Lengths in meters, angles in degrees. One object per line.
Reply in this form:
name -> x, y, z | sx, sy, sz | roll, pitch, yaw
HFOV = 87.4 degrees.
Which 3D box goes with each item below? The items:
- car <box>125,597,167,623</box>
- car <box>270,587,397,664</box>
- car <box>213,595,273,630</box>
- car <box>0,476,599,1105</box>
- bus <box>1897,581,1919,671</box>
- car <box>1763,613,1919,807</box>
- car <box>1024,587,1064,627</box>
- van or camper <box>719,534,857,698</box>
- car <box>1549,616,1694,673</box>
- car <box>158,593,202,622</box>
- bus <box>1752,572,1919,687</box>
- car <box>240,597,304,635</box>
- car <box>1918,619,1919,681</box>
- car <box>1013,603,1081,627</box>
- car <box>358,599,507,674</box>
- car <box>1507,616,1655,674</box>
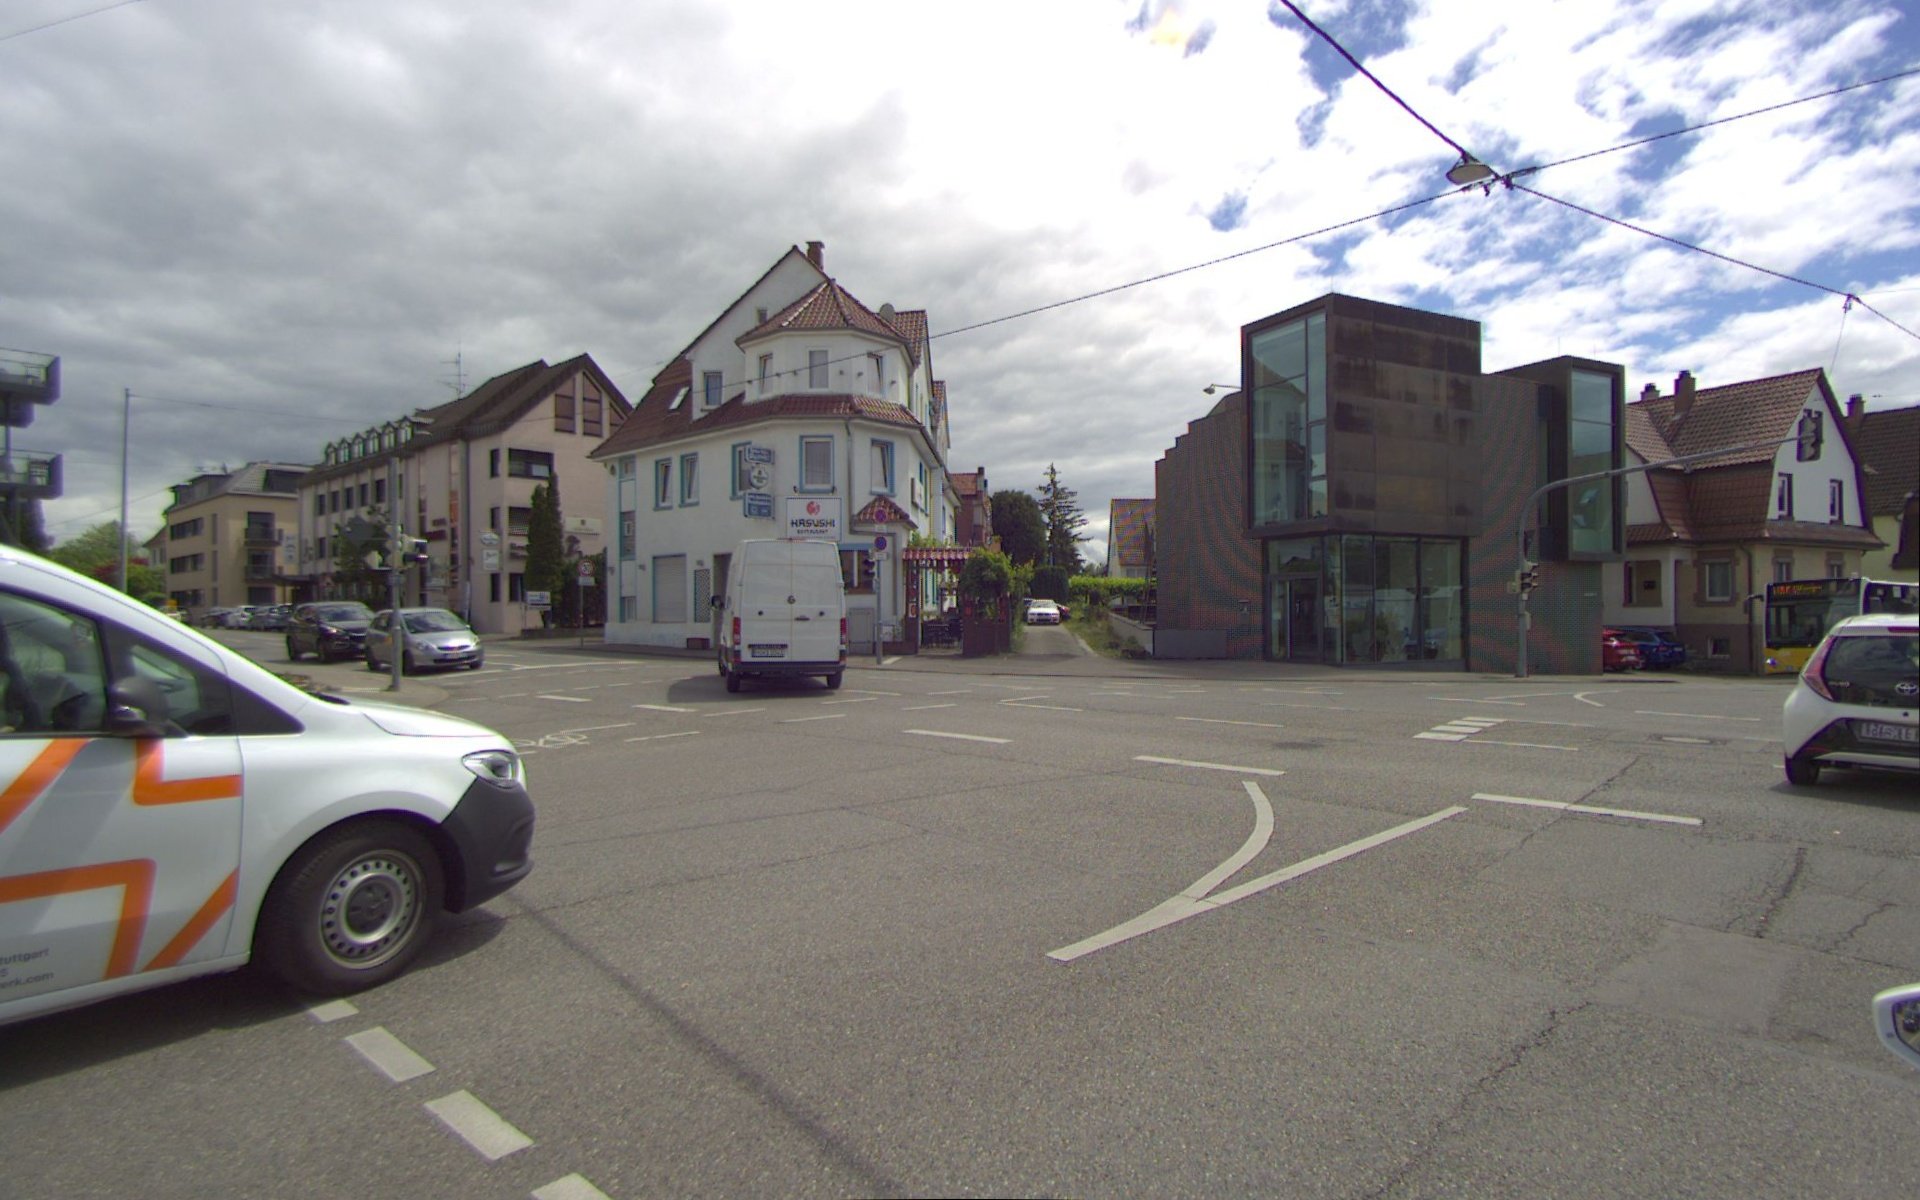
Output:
car -> -63.977, 0.771, 78.919 | 3.943, 2.040, 1.989 | 0, 0, 43
car -> -17.948, 0.684, 28.726 | 3.940, 2.040, 1.990 | 0, 0, 40
car -> -43.394, 0.710, 60.763 | 3.938, 2.040, 1.991 | 0, 0, 39
car -> -3.648, 0.551, 3.282 | 1.793, 1.836, 4.402 | 0, -1, 37
bus -> 36.150, 0.933, 34.638 | 9.074, 2.953, 2.767 | 1, 0, -28
car -> 8.655, 0.877, 8.880 | 3.502, 1.479, 1.725 | 1, -1, -39
car -> 4.546, 0.382, 54.927 | 1.960, 2.040, 4.001 | 1, 0, 2
van or camper -> -3.419, 0.258, 18.983 | 2.078, 2.621, 5.628 | -1, 0, -14
car -> 24.268, 1.583, 36.994 | 1.976, 1.706, 3.969 | 1, 2, -29
car -> -57.278, 0.522, 73.762 | 3.944, 2.040, 1.988 | 0, 0, 44
bus -> 27.964, 0.864, 30.431 | 9.074, 3.101, 2.767 | 1, 0, -28
car -> -39.422, 0.896, 57.541 | 3.938, 2.040, 1.992 | 0, 0, 39
car -> 27.720, 1.365, 26.718 | 3.946, 1.662, 1.987 | 1, 0, -26
car -> 5.116, 0.881, 58.806 | 3.919, 1.327, 1.535 | 1, 0, 8
car -> -13.144, 0.847, 24.949 | 3.941, 1.706, 1.990 | 0, 0, 41
car -> 22.005, 1.550, 35.742 | 1.976, 1.662, 3.969 | 1, 3, -29
